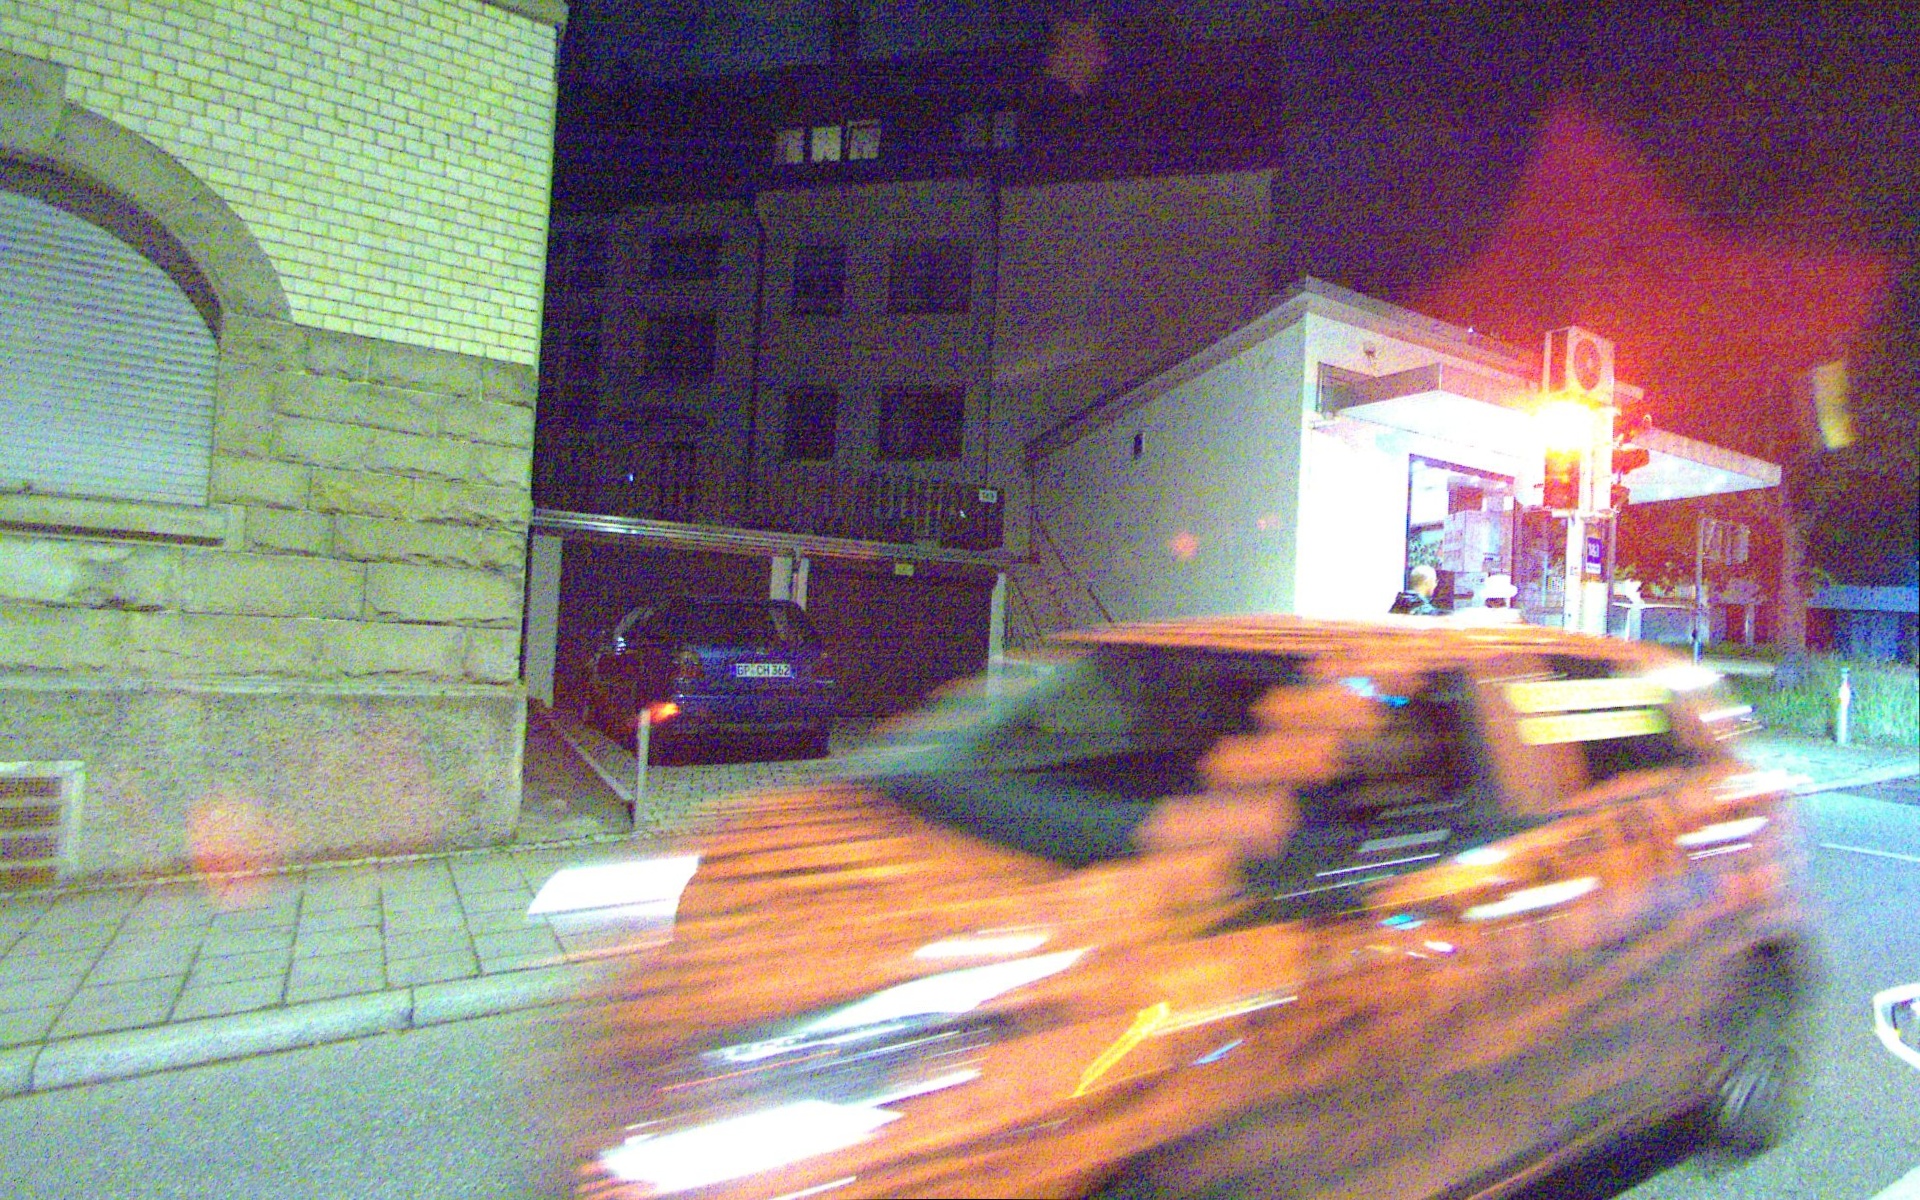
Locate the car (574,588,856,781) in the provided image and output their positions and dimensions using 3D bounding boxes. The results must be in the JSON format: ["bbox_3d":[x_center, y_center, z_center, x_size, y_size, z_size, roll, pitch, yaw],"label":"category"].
[{"bbox_3d":[-2.459,0.656,9.497,1.655,1.470,3.341,2,-1,-31],"label":"car"}]

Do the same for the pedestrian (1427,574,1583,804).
[{"bbox_3d":[4.475,0.694,8.250,1.017,1.768,0.672,2,0,-31],"label":"pedestrian"}]

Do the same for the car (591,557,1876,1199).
[{"bbox_3d":[0.879,0.735,2.804,3.357,1.521,1.574,1,0,-31],"label":"car"}]

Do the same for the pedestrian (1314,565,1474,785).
[{"bbox_3d":[3.732,0.614,8.646,1.091,1.768,0.738,2,0,-31],"label":"pedestrian"}]

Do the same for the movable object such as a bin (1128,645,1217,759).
[{"bbox_3d":[2.110,1.003,10.026,0.643,1.063,0.639,2,0,-12],"label":"movable object such as a bin"}]
